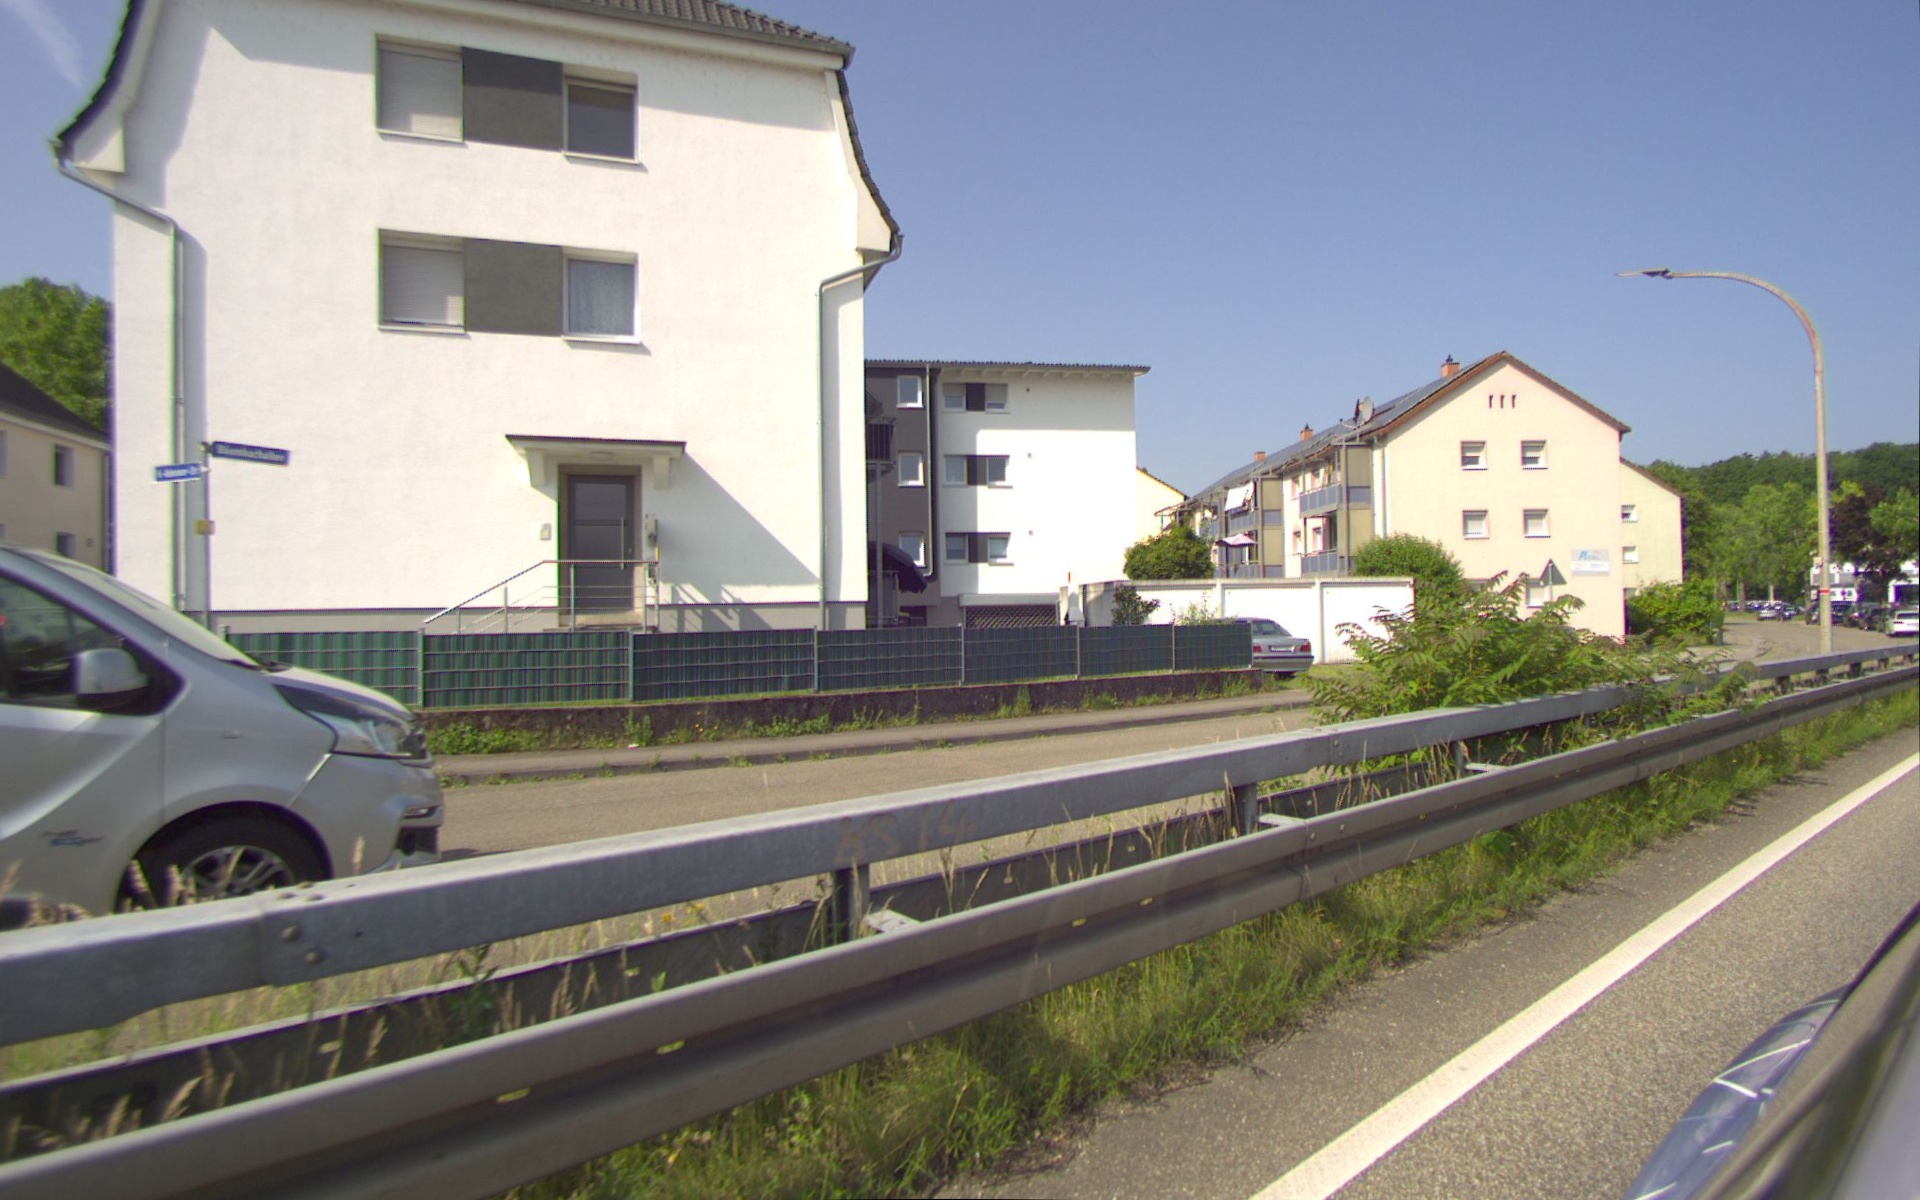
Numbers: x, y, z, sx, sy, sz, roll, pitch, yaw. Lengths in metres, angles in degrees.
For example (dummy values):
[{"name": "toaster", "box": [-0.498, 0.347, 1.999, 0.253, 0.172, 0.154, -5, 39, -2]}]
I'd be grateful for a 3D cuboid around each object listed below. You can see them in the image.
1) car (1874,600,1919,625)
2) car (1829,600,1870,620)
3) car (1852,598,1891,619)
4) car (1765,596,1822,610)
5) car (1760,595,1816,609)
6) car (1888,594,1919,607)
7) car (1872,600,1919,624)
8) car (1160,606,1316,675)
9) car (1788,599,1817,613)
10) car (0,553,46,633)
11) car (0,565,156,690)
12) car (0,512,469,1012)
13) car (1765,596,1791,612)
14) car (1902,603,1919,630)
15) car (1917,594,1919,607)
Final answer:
[{"name": "car", "box": [56.987, 0.720, 61.459, 1.698, 1.423, 4.427, 0, 1, 35]}, {"name": "car", "box": [68.397, 0.741, 77.848, 1.902, 1.423, 4.467, 0, 1, 35]}, {"name": "car", "box": [63.734, 0.551, 70.806, 1.646, 1.383, 3.616, 0, 1, 36]}, {"name": "car", "box": [93.512, 0.295, 113.619, 4.714, 1.477, 1.911, 0, 1, 32]}, {"name": "car", "box": [94.904, 0.205, 116.027, 4.714, 1.608, 1.911, 0, 1, 32]}, {"name": "car", "box": [123.717, 0.040, 132.536, 4.518, 1.565, 2.006, -1, 1, -30]}, {"name": "car", "box": [58.747, 0.710, 63.621, 1.698, 1.423, 3.616, 0, 1, 36]}, {"name": "car", "box": [6.426, 0.892, 24.014, 1.718, 1.365, 4.620, 1, 1, -10]}, {"name": "car", "box": [78.277, 0.535, 94.056, 1.581, 1.201, 3.622, 0, 1, 31]}, {"name": "car", "box": [-25.011, -0.131, 24.763, 1.919, 2.008, 4.852, 0, 3, -15]}, {"name": "car", "box": [-14.742, 0.371, 15.702, 1.959, 1.683, 4.010, -3, 3, -14]}, {"name": "car", "box": [-5.127, 0.633, 4.233, 5.261, 1.969, 1.999, 0, 0, -37]}, {"name": "car", "box": [80.429, 0.376, 99.564, 1.776, 1.493, 3.937, 0, 1, 36]}, {"name": "car", "box": [52.512, 0.858, 54.973, 1.781, 1.438, 4.373, 0, 0, 40]}, {"name": "car", "box": [125.070, 0.048, 130.179, 4.523, 1.565, 2.003, -1, 1, -35]}]
